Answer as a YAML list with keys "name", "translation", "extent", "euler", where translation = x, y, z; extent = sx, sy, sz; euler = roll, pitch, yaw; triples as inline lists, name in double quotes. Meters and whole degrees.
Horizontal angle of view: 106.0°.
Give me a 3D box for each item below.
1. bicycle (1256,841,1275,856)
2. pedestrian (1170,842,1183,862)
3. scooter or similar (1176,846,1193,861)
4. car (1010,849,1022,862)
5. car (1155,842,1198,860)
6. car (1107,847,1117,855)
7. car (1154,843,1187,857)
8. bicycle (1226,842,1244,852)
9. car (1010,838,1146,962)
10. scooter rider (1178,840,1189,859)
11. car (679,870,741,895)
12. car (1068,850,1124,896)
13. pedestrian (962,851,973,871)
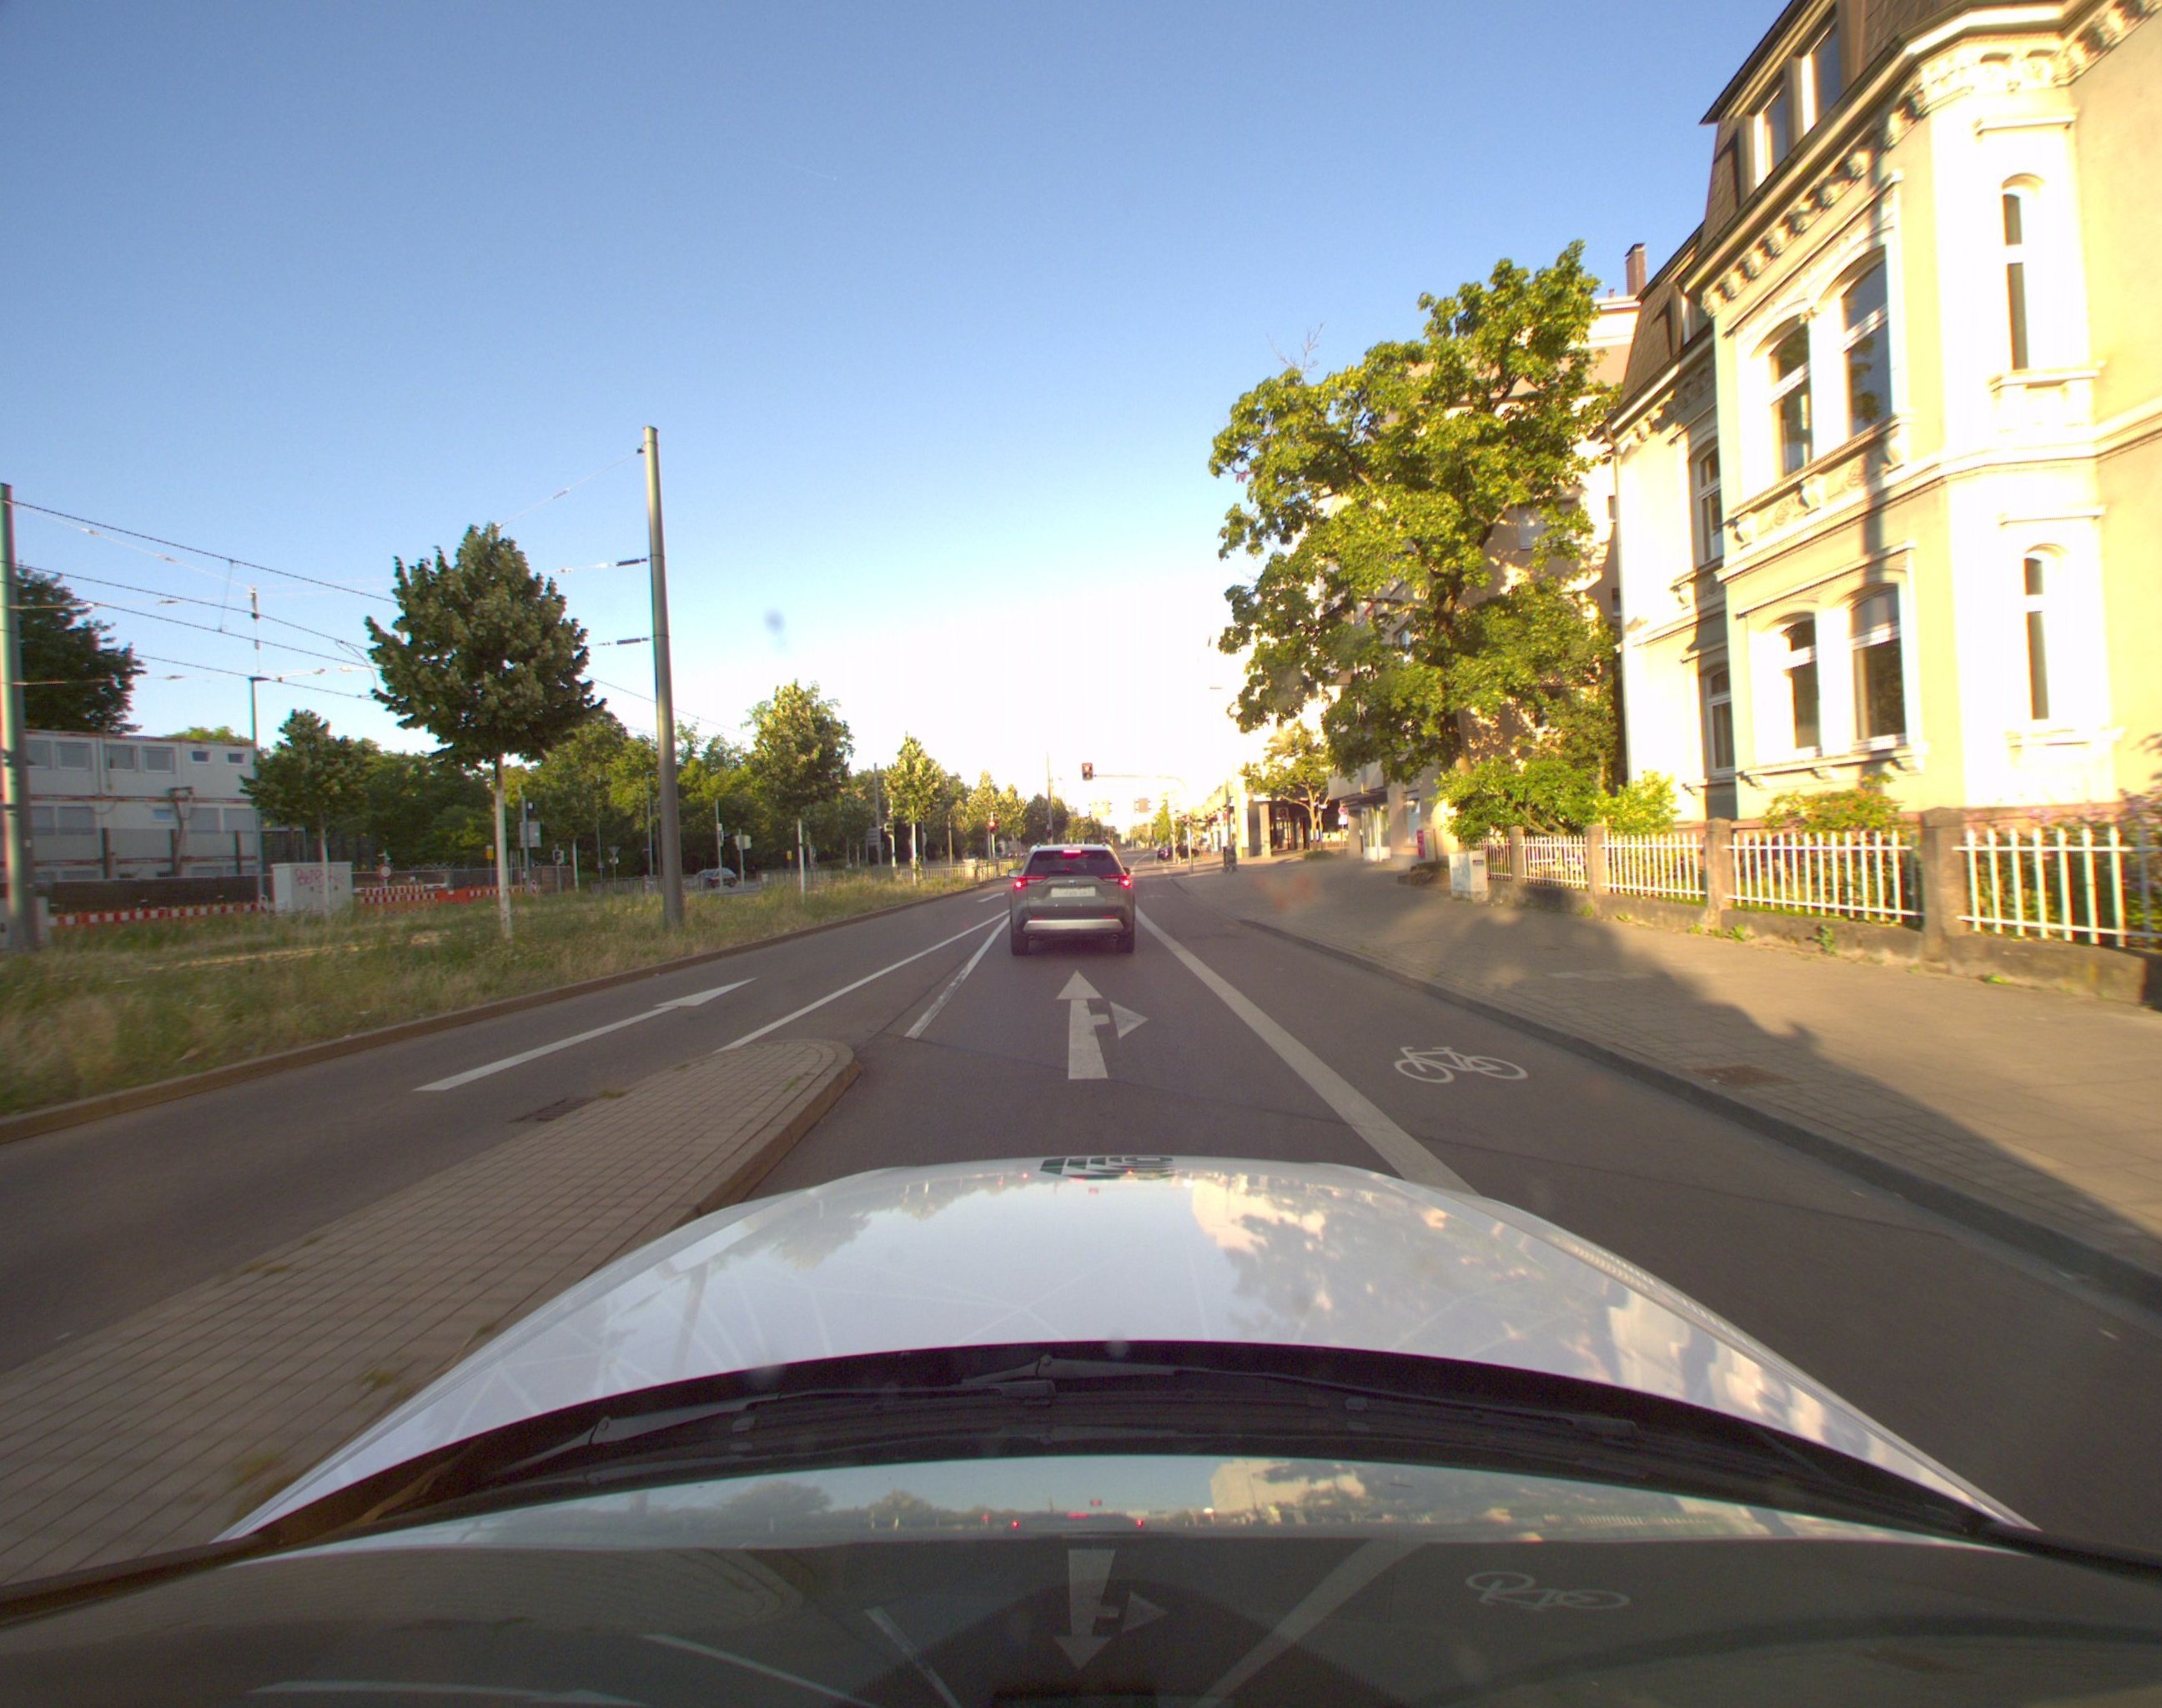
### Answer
- name: "bicycle"
  translation: [15.102, -0.446, 66.828]
  extent: [0.689, 1.149, 2.012]
  euler: [0, 0, -15]
- name: "pedestrian"
  translation: [7.634, -0.183, 65.383]
  extent: [0.833, 1.586, 0.811]
  euler: [-3, 0, -2]
- name: "scooter or similar"
  translation: [8.563, -0.019, 67.540]
  extent: [1.323, 1.153, 0.514]
  euler: [-3, 0, 5]
- name: "car"
  translation: [-12.222, 0.296, 152.991]
  extent: [1.988, 2.167, 4.747]
  euler: [-2, 2, -2]
- name: "car"
  translation: [9.686, -0.354, 82.555]
  extent: [4.290, 1.658, 1.839]
  euler: [-3, 2, -39]
- name: "car"
  translation: [6.652, -0.611, 172.969]
  extent: [1.970, 1.433, 4.848]
  euler: [-2, 2, 3]
- name: "car"
  translation: [12.196, -0.550, 110.836]
  extent: [4.283, 1.658, 1.842]
  euler: [-3, 2, -32]
- name: "bicycle"
  translation: [17.862, -0.835, 94.386]
  extent: [2.004, 1.149, 0.692]
  euler: [0, -1, 9]
- name: "car"
  translation: [-0.080, 0.598, 13.504]
  extent: [1.849, 1.658, 4.267]
  euler: [-2, 2, -1]
- name: "scooter rider"
  translation: [8.542, -0.377, 67.571]
  extent: [0.816, 1.514, 0.654]
  euler: [-3, 0, 5]
- name: "car"
  translation: [-26.348, 2.003, 58.035]
  extent: [1.922, 1.481, 4.530]
  euler: [-1, 2, 5]
- name: "car"
  translation: [0.554, 0.650, 30.803]
  extent: [1.925, 1.481, 4.523]
  euler: [-2, 2, 0]
- name: "pedestrian"
  translation: [-10.355, 0.620, 74.174]
  extent: [0.832, 1.712, 0.648]
  euler: [-3, 0, 2]
